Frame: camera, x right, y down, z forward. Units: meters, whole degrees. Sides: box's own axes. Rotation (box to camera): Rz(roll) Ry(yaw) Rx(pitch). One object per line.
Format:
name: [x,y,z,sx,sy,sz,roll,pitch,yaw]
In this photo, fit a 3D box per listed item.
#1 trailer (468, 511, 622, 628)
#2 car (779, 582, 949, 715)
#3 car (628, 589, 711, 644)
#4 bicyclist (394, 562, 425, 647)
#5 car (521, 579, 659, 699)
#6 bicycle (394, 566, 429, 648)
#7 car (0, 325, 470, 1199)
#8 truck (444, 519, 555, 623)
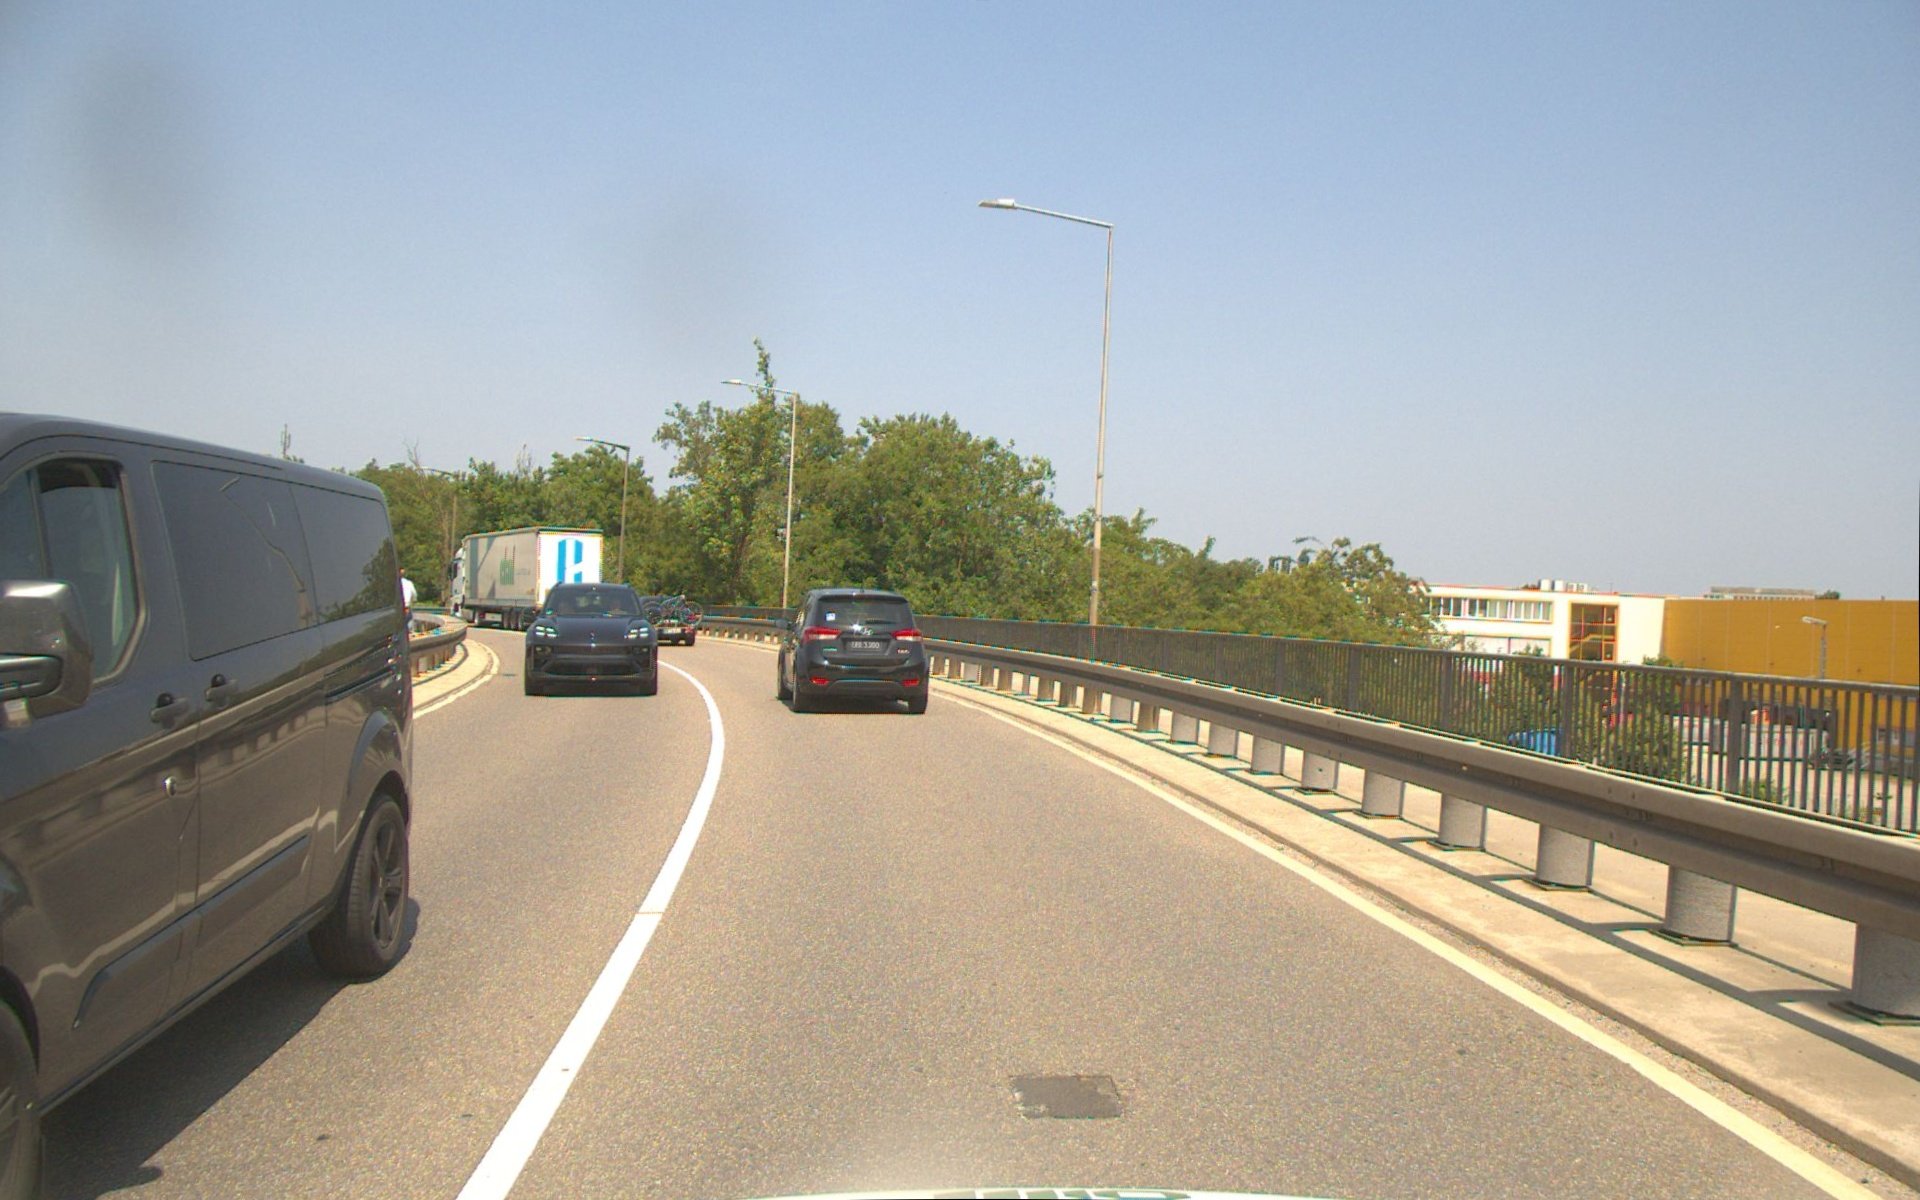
trailer: [-17.529,-1.275,69.047,3.530,4.460,11.334,1,1,-28]
car: [-1.395,0.589,22.458,1.886,1.601,3.883,1,1,-9]
car: [-8.479,0.452,48.056,1.979,1.454,3.761,1,1,-16]
bicyclist: [-12.623,0.094,37.934,0.615,1.919,0.708,1,1,-21]
car: [-5.580,0.526,25.377,1.858,1.624,4.476,1,1,-10]
bicycle: [-12.593,0.142,37.930,0.687,1.833,2.168,1,1,-20]
car: [-3.039,0.447,4.899,1.967,1.993,5.266,0,0,-5]
truck: [-21.147,-1.337,75.658,3.533,4.518,6.454,1,1,-28]
